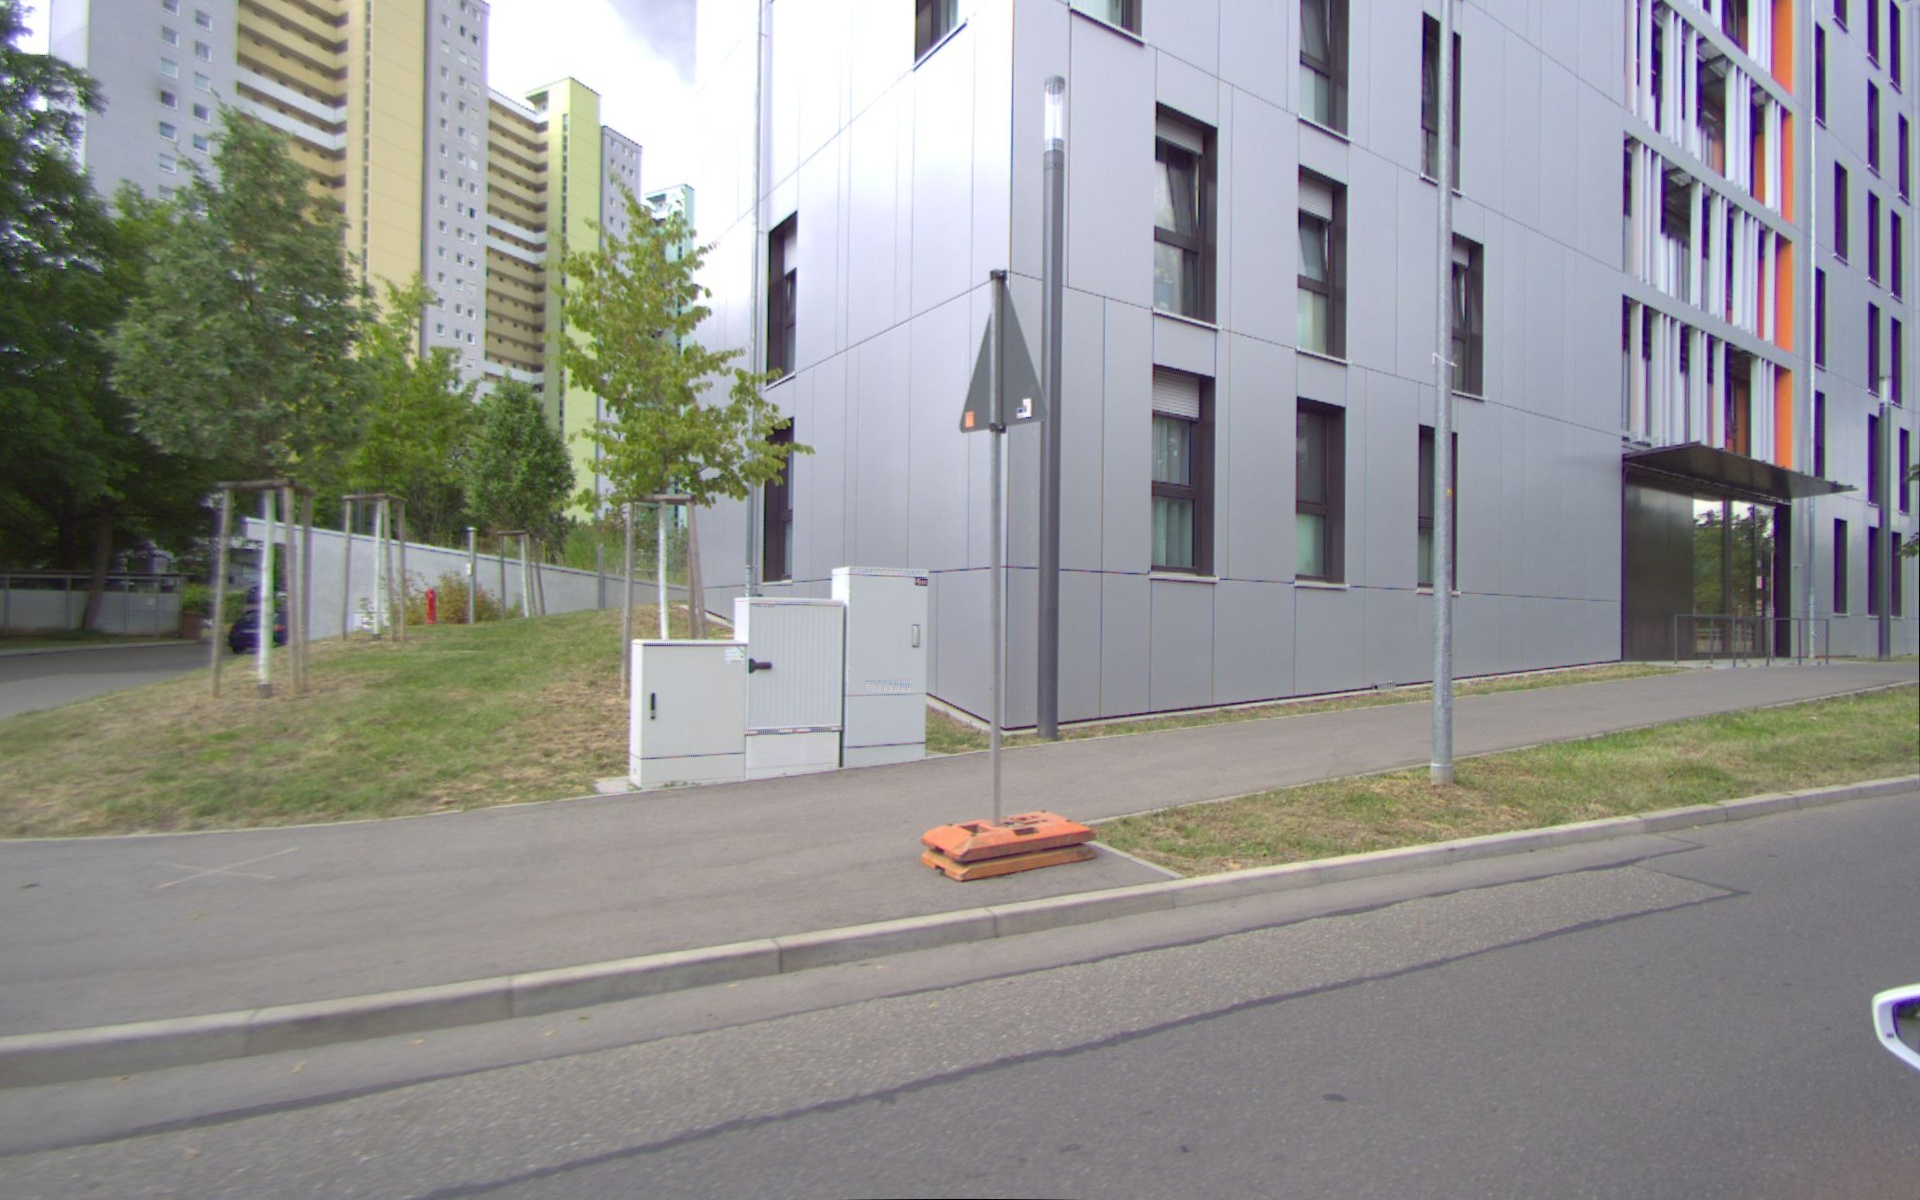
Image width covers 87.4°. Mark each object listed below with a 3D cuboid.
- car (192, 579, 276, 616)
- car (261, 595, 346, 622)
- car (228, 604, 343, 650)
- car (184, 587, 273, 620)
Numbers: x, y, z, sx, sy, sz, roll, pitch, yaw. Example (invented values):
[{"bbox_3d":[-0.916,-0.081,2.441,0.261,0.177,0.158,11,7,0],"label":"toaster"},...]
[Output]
[{"bbox_3d":[-39.572,-0.107,54.790,3.595,1.892,1.480,1,-1,-43],"label":"car"},{"bbox_3d":[-34.875,0.443,53.373,3.595,1.391,1.480,1,-1,-43],"label":"car"},{"bbox_3d":[-21.474,0.837,32.132,1.471,1.391,3.619,0,-1,-5],"label":"car"},{"bbox_3d":[-38.160,0.193,52.436,3.595,1.685,1.480,1,-1,-43],"label":"car"}]
